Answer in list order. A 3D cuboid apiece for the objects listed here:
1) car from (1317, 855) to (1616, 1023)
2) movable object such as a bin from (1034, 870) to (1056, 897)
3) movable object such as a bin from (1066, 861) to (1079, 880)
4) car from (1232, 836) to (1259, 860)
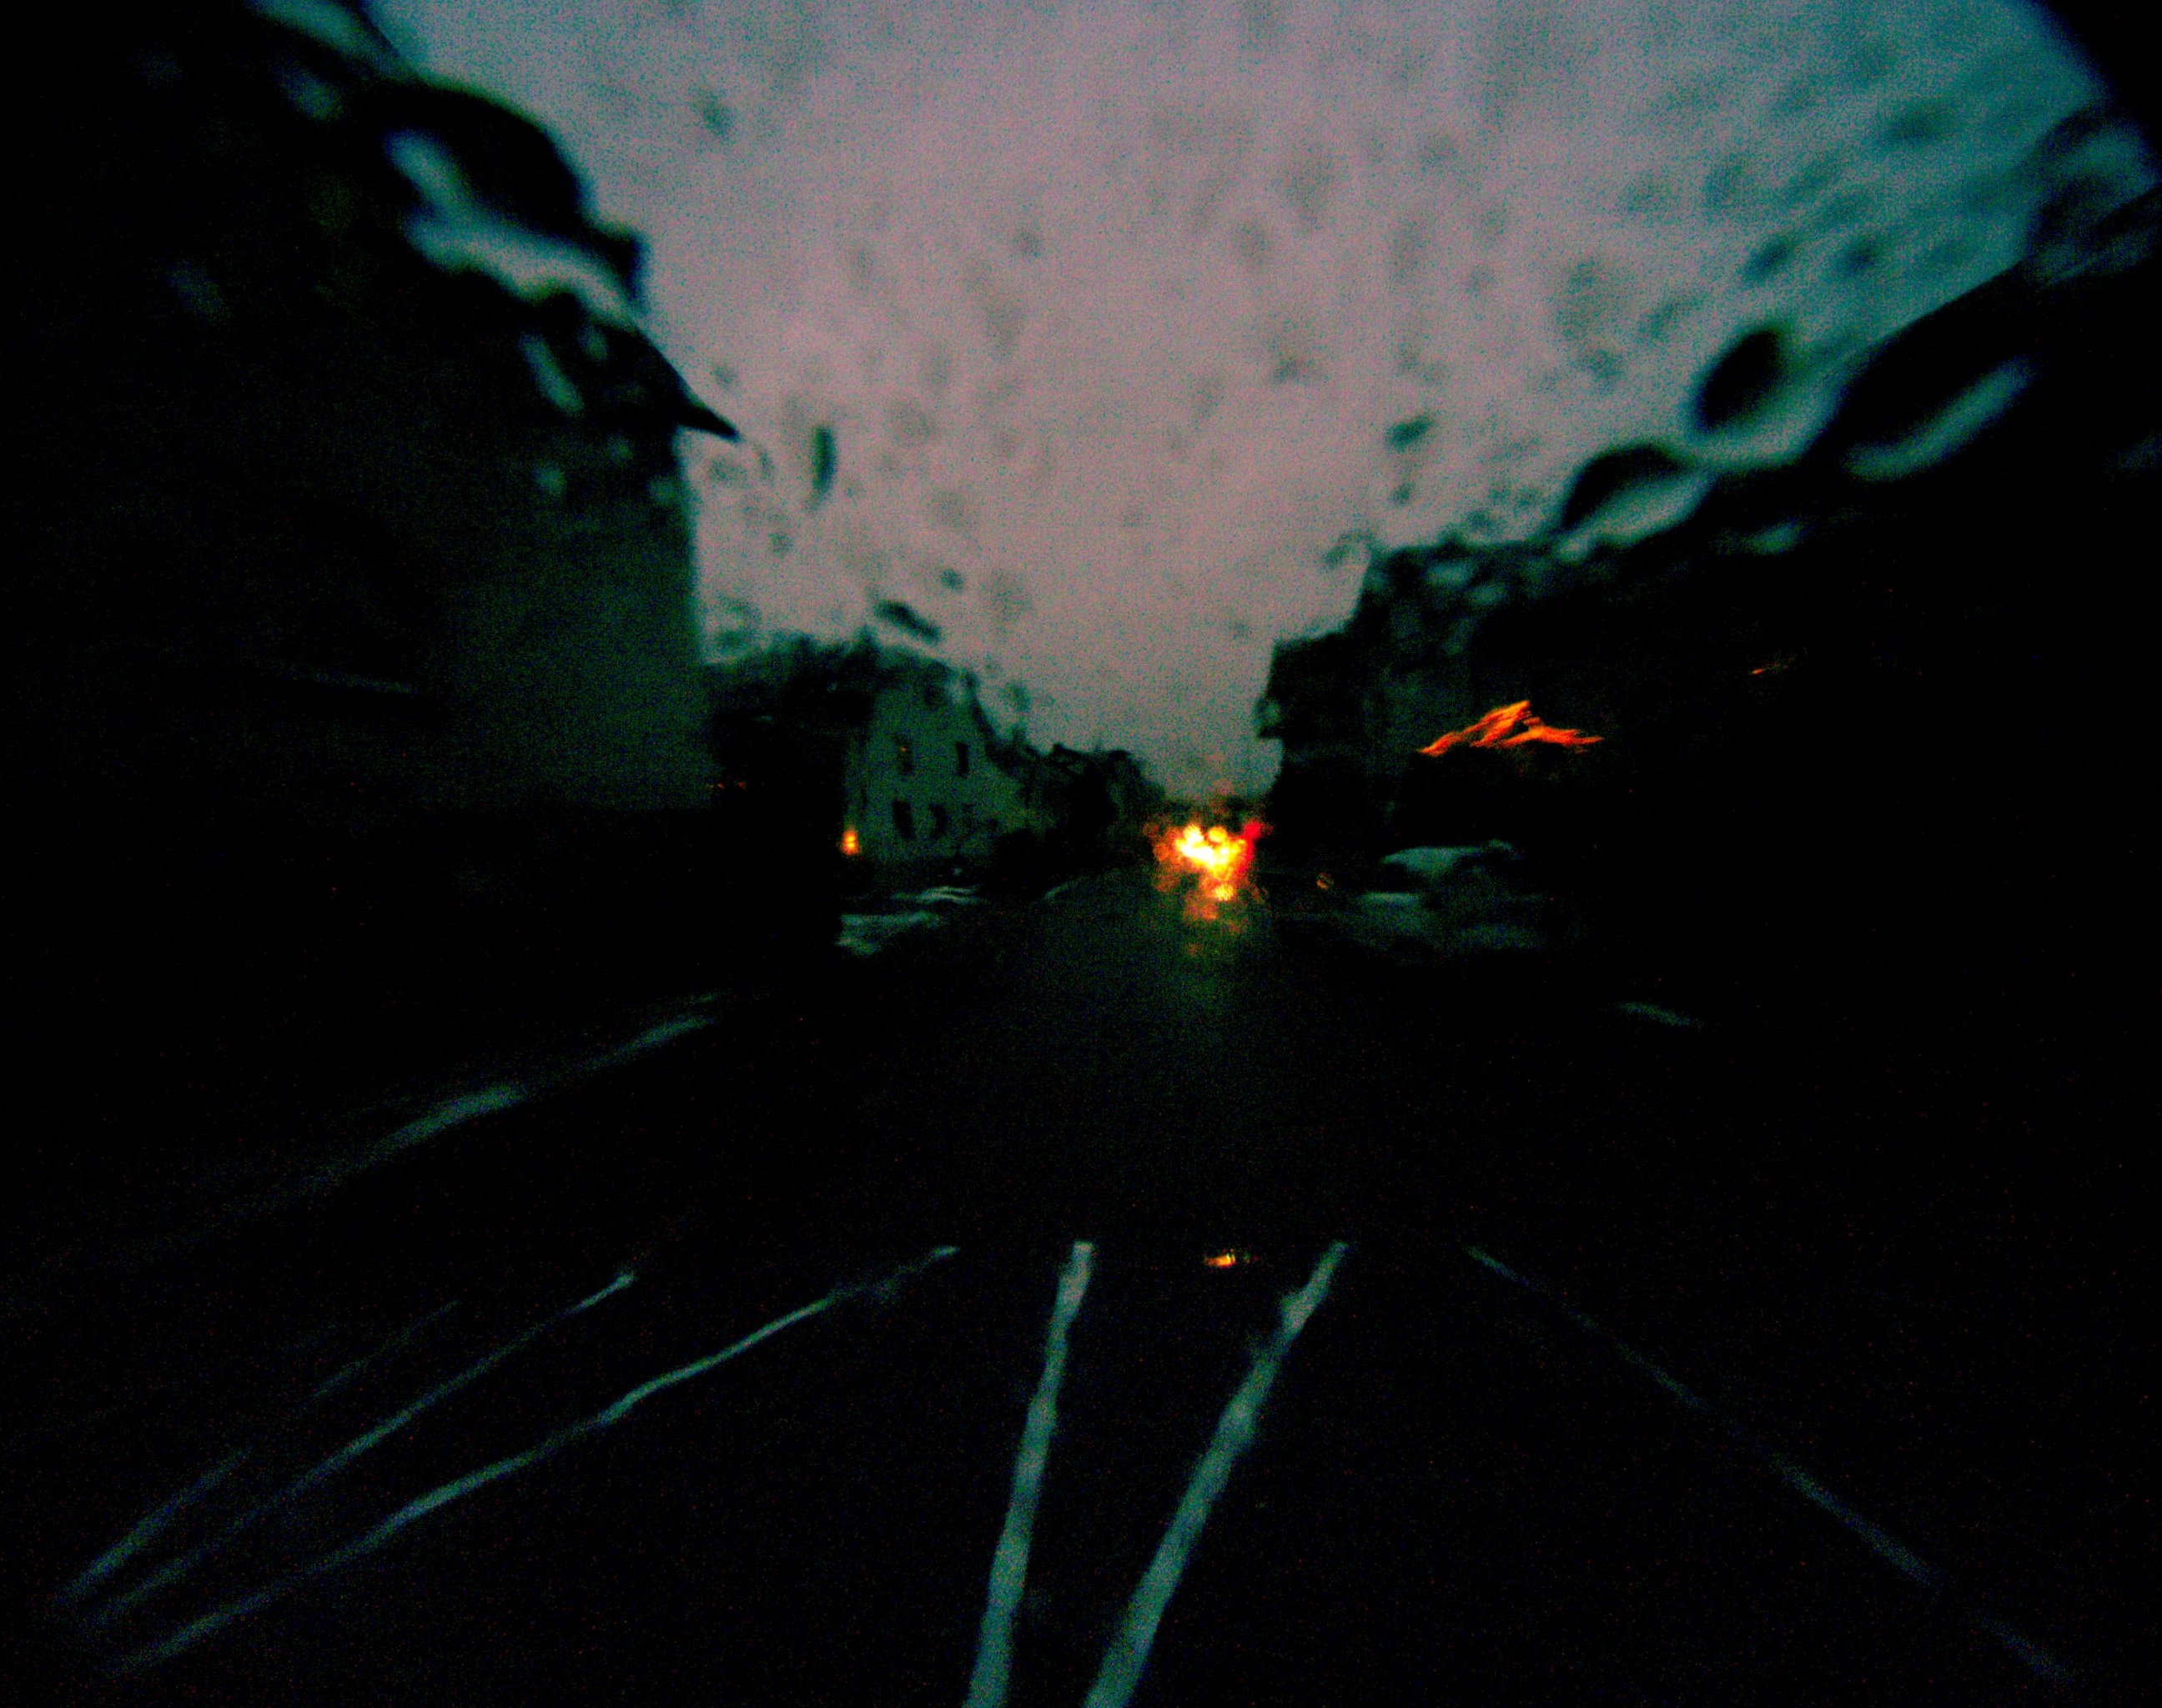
[{"bbox_3d":[4.097,0.780,8.789,1.622,1.430,3.656,-2,1,1],"label":"car"},{"bbox_3d":[-1.260,1.037,26.878,0.638,0.912,0.686,-3,1,6],"label":"movable object such as a bin"},{"bbox_3d":[-0.432,0.841,39.261,0.538,0.932,0.690,-3,1,8],"label":"movable object such as a bin"},{"bbox_3d":[15.019,-0.572,69.265,2.113,2.015,4.987,-2,1,15],"label":"car"}]
